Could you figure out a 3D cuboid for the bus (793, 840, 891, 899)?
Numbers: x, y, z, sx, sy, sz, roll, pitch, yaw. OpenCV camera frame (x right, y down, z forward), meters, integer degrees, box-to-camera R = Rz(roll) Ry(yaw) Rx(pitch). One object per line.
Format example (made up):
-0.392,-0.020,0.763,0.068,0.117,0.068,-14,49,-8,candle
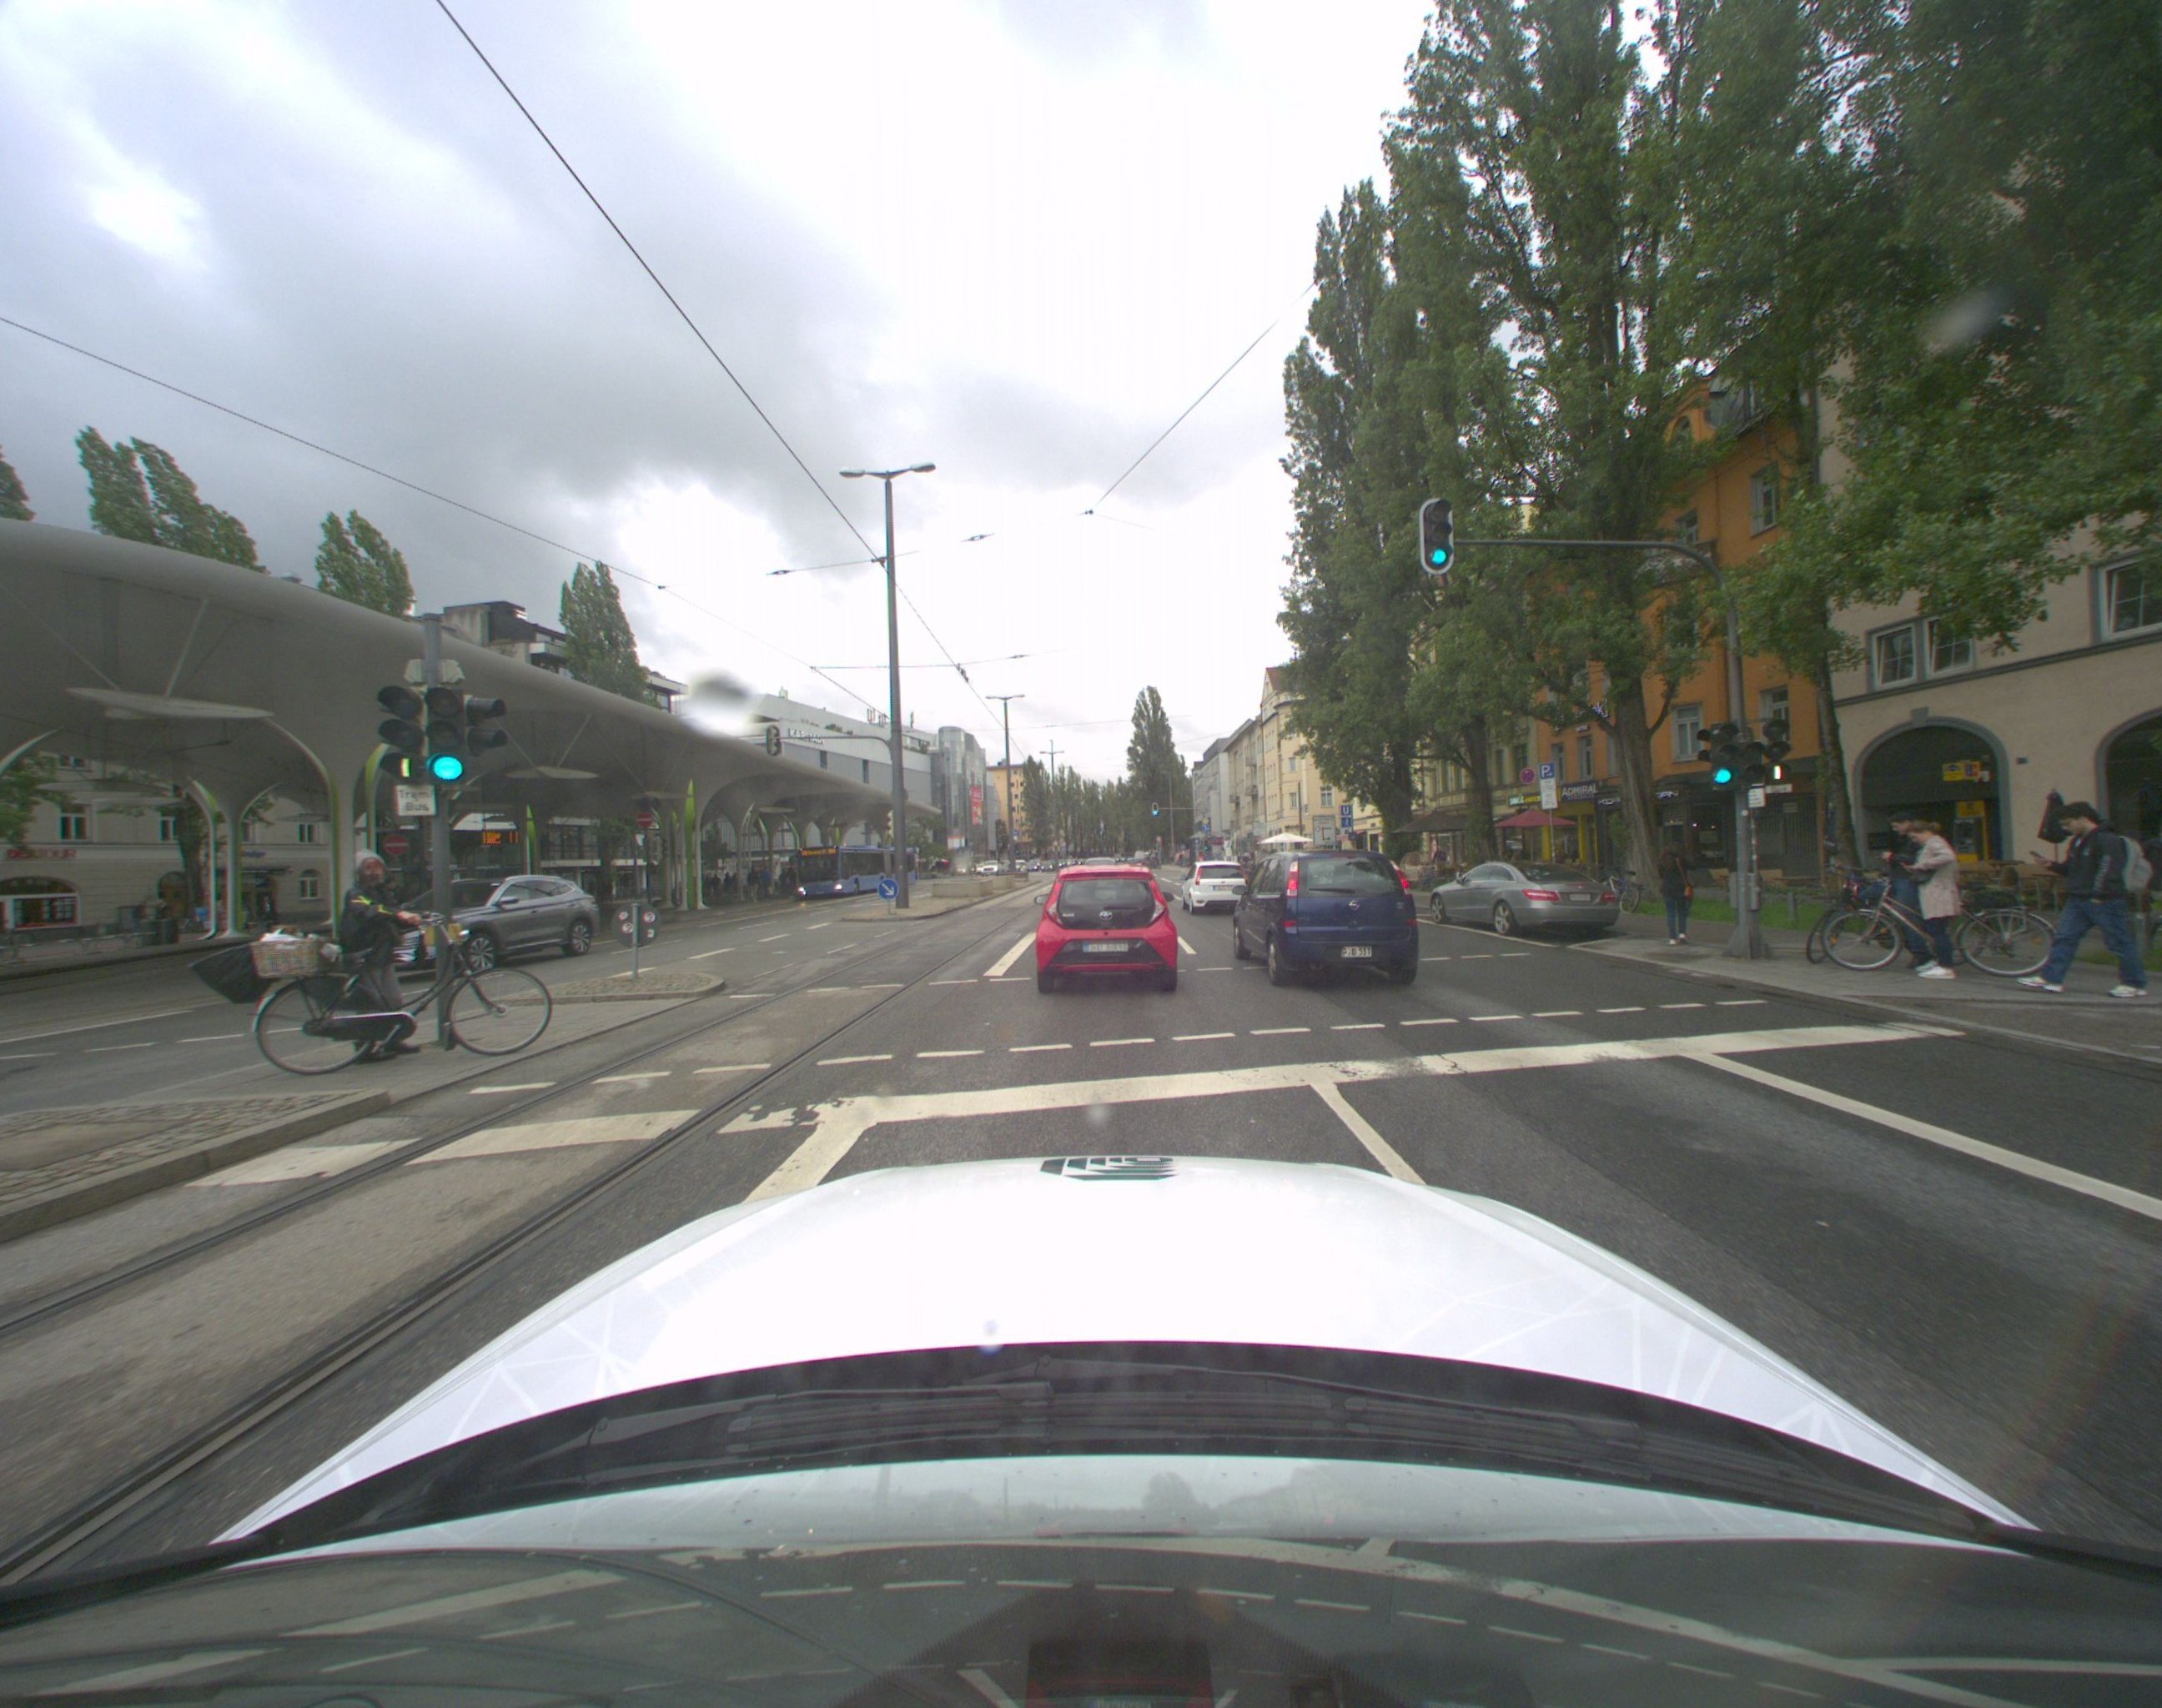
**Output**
-14.245,0.889,49.627,2.652,3.007,10.513,-4,0,0,bus

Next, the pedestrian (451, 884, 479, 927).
-23.041,1.910,30.475,0.593,1.545,0.634,-2,-1,-16,pedestrian

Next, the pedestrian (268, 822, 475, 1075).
-5.544,0.691,6.407,0.851,1.812,0.901,-2,-1,18,pedestrian

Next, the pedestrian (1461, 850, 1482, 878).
17.419,0.461,36.349,0.598,1.222,0.666,-2,-1,2,pedestrian

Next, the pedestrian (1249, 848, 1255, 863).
18.766,0.161,89.519,0.556,1.609,0.570,-2,3,15,pedestrian

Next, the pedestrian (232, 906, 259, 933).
-35.416,2.765,34.536,0.516,1.084,0.577,-2,-1,-6,pedestrian

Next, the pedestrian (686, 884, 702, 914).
-26.872,3.110,56.546,0.910,2.013,0.666,-2,-1,-32,pedestrian

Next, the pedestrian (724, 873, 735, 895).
-27.247,2.311,63.121,0.572,1.610,0.580,-2,-1,-8,pedestrian

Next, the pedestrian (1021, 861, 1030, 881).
-4.635,1.397,67.487,0.466,1.618,0.515,-2,-1,-45,pedestrian

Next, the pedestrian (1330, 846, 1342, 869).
18.750,0.242,59.915,0.612,1.632,0.678,-2,-1,2,pedestrian

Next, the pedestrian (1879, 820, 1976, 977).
9.372,0.459,9.014,0.760,1.638,0.693,-2,0,-42,pedestrian

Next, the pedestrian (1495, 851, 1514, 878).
20.956,0.518,40.303,0.581,1.280,0.583,-2,-1,1,pedestrian

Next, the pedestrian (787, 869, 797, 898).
-16.132,1.639,45.479,0.391,1.605,0.390,-2,-1,-4,pedestrian

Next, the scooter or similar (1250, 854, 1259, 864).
18.846,0.504,88.343,0.819,0.994,0.592,-3,3,-7,scooter or similar

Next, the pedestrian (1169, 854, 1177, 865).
13.213,0.849,117.035,0.801,1.522,0.805,-3,-1,25,pedestrian

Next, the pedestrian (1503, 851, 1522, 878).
20.911,0.515,39.465,0.581,1.280,0.583,-2,-1,1,pedestrian

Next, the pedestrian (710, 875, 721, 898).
-26.825,2.373,59.758,0.572,1.610,0.546,-2,-1,-8,pedestrian

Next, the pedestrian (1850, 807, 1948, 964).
9.735,0.358,9.718,0.692,1.780,0.655,-1,0,35,pedestrian

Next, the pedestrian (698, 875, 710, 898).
-27.679,2.376,59.818,0.572,1.610,0.546,-2,-1,-8,pedestrian

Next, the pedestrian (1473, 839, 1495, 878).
18.003,0.197,36.363,0.598,1.739,0.666,-2,-1,2,pedestrian

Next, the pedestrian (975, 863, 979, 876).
-14.753,2.209,115.689,0.442,1.759,0.357,-3,0,20,pedestrian

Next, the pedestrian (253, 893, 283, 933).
-35.262,2.551,35.312,0.600,1.647,0.640,-2,-1,-6,pedestrian

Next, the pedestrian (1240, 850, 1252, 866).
15.727,0.404,77.567,0.730,1.540,0.887,-2,-1,-13,pedestrian

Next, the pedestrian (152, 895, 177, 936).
-42.625,2.858,37.880,0.552,1.814,0.557,-2,-1,13,pedestrian

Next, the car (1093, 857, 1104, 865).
4.128,1.577,191.854,1.981,1.691,4.934,-2,0,10,car

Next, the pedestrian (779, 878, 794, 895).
-23.199,2.558,64.115,0.843,1.317,0.869,-1,-1,-42,pedestrian

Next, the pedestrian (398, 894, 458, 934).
-21.712,1.985,27.091,0.803,1.230,1.277,-2,-1,20,pedestrian

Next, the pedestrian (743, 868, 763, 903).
-16.972,1.623,42.172,0.713,1.722,0.879,-2,-1,-7,pedestrian

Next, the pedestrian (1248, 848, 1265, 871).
13.605,0.456,63.112,0.882,1.743,0.854,-2,-1,-15,pedestrian

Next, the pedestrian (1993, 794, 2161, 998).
9.456,0.364,7.682,0.879,1.801,0.754,-2,0,-8,pedestrian

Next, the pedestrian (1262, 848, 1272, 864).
20.832,0.184,91.219,0.930,1.755,1.066,-2,0,2,pedestrian

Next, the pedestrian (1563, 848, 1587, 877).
20.828,0.352,34.319,0.620,1.218,0.583,-2,-1,1,pedestrian

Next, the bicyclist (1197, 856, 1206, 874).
11.153,1.022,75.259,0.612,1.657,1.251,-3,0,0,bicyclist

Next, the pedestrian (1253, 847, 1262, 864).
19.372,0.159,89.430,0.648,1.705,0.727,-4,3,-28,pedestrian

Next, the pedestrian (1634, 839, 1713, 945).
9.158,0.559,12.584,0.766,1.562,0.754,-2,0,-36,pedestrian

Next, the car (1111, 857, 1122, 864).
9.458,1.688,216.780,1.978,1.728,3.933,-2,0,15,car

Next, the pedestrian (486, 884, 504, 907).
-45.443,3.209,63.162,0.775,1.661,0.776,-2,-1,11,pedestrian

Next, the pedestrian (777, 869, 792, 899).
-17.185,1.736,47.244,0.500,1.734,0.576,-3,-1,44,pedestrian

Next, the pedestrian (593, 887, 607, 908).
-28.997,2.615,49.070,0.578,1.265,0.513,-2,-1,-41,pedestrian

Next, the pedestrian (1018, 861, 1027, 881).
-4.907,1.401,67.781,0.489,1.618,0.552,-2,-1,-33,pedestrian

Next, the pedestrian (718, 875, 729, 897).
-26.935,2.380,61.298,0.572,1.610,0.546,-2,-1,-8,pedestrian

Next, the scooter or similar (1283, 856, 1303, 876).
11.974,0.676,45.970,0.773,1.075,1.256,-2,0,0,scooter or similar

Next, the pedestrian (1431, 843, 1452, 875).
18.462,0.253,41.721,0.707,1.632,0.787,-2,-1,2,pedestrian

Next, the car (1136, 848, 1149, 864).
11.053,0.407,147.492,2.098,2.718,4.807,-2,0,2,car

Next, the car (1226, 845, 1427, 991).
3.021,0.713,10.758,1.696,1.589,3.558,-1,0,2,car

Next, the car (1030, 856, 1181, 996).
0.348,0.794,10.465,1.598,1.461,3.132,-2,0,3,car

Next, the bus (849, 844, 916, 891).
-14.150,0.923,58.654,2.651,3.007,7.515,-4,0,1,bus

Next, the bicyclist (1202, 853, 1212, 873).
12.332,0.895,79.748,0.759,1.870,1.133,-3,0,2,bicyclist

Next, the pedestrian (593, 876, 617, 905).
-29.915,2.298,51.158,0.867,1.730,0.896,-3,0,4,pedestrian

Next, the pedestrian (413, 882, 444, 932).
-25.500,2.046,31.832,0.714,1.873,0.871,-2,-1,-26,pedestrian

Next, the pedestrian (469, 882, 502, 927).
-23.426,1.978,32.055,0.809,1.727,0.669,-2,-1,-15,pedestrian

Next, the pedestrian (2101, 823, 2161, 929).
16.840,0.328,12.740,0.838,1.602,0.828,-3,-1,33,pedestrian

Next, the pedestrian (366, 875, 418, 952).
-17.138,1.455,20.277,0.665,1.839,0.806,-2,-1,-15,pedestrian

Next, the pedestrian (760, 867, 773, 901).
-16.831,1.593,43.592,0.566,1.743,0.751,-2,-1,-18,pedestrian
